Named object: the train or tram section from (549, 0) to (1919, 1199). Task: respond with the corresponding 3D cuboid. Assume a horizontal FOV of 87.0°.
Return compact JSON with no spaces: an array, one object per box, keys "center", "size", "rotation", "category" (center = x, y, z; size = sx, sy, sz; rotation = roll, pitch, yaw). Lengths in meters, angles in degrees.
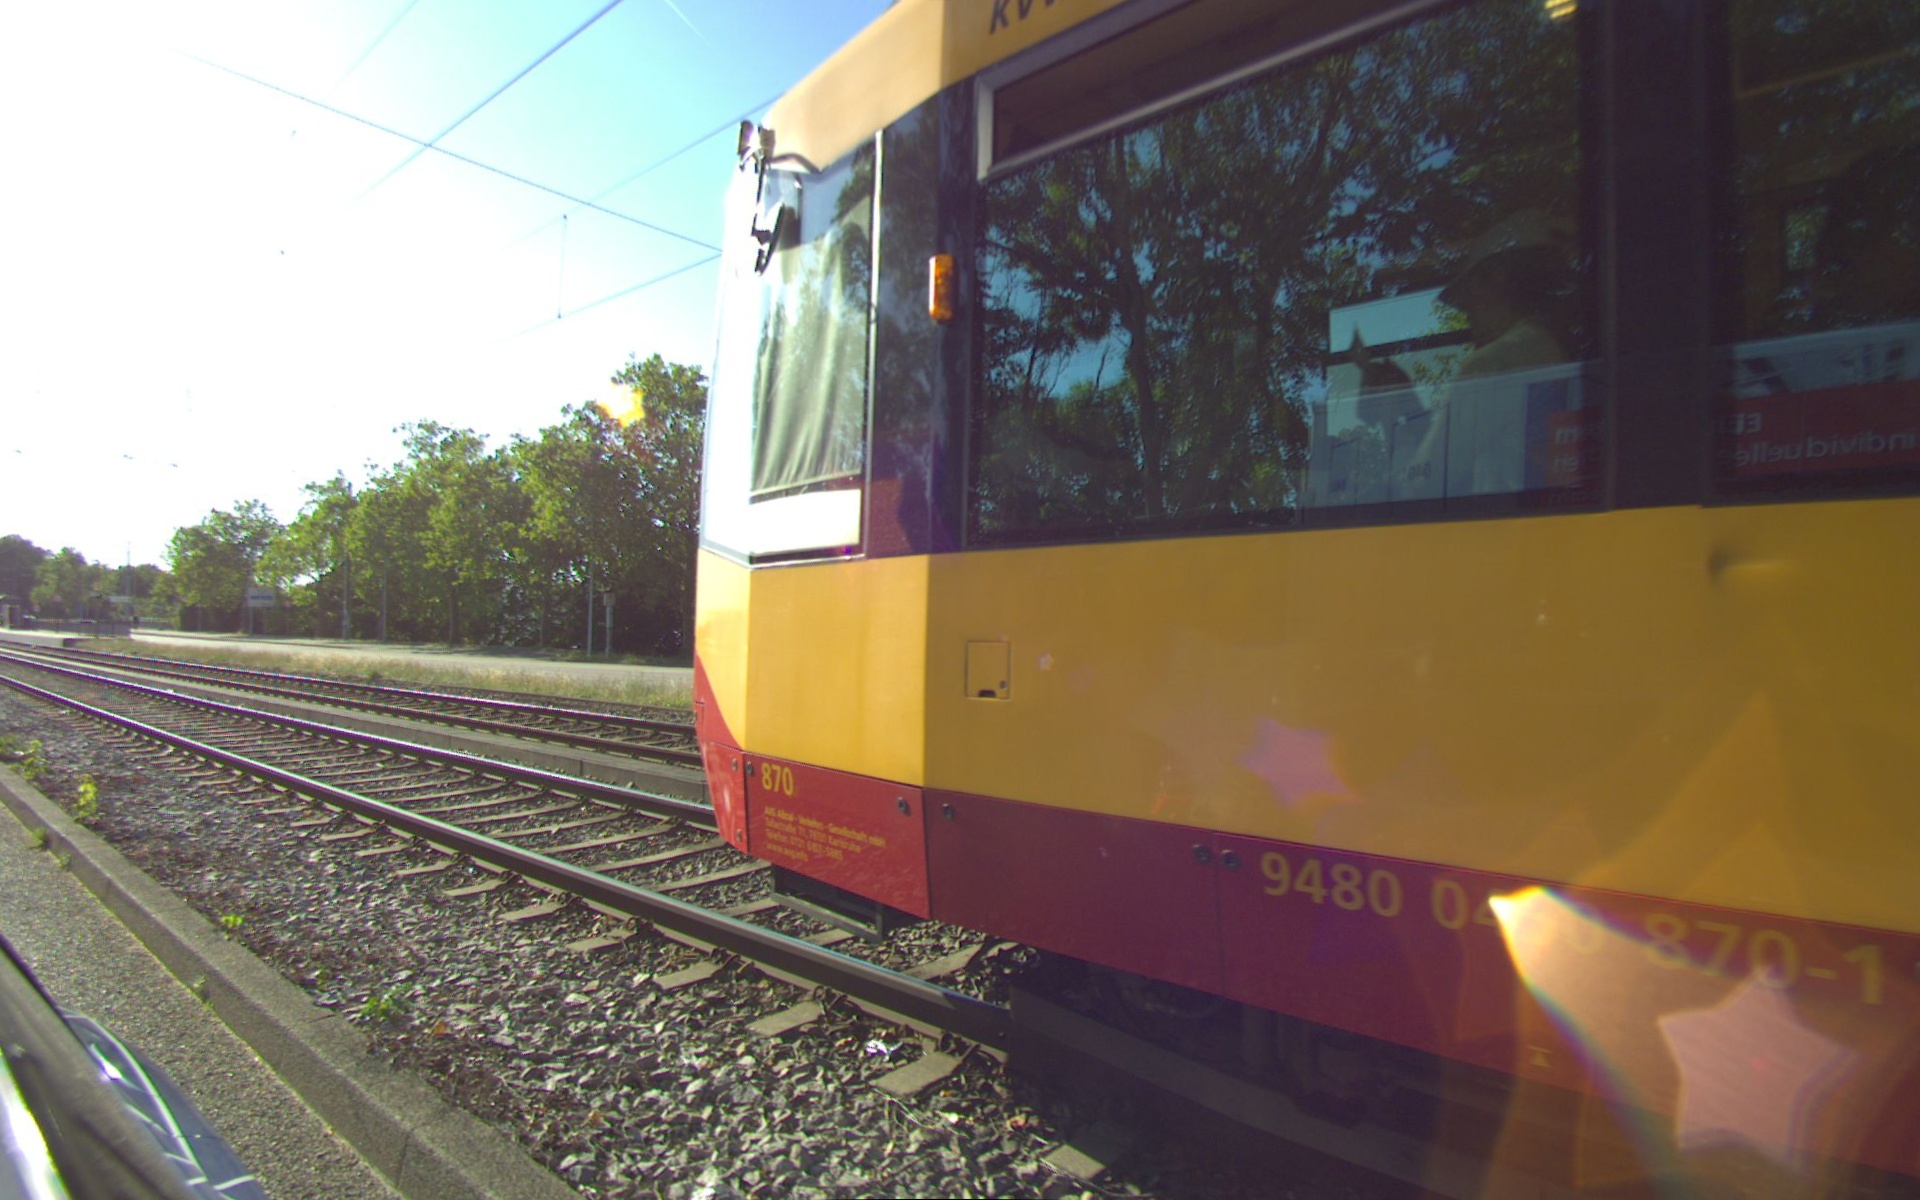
[{"center":[4.373,-0.691,0.554],"size":[13.609,4.122,2.693],"rotation":[-1,-2,41],"category":"train or tram section"}]
